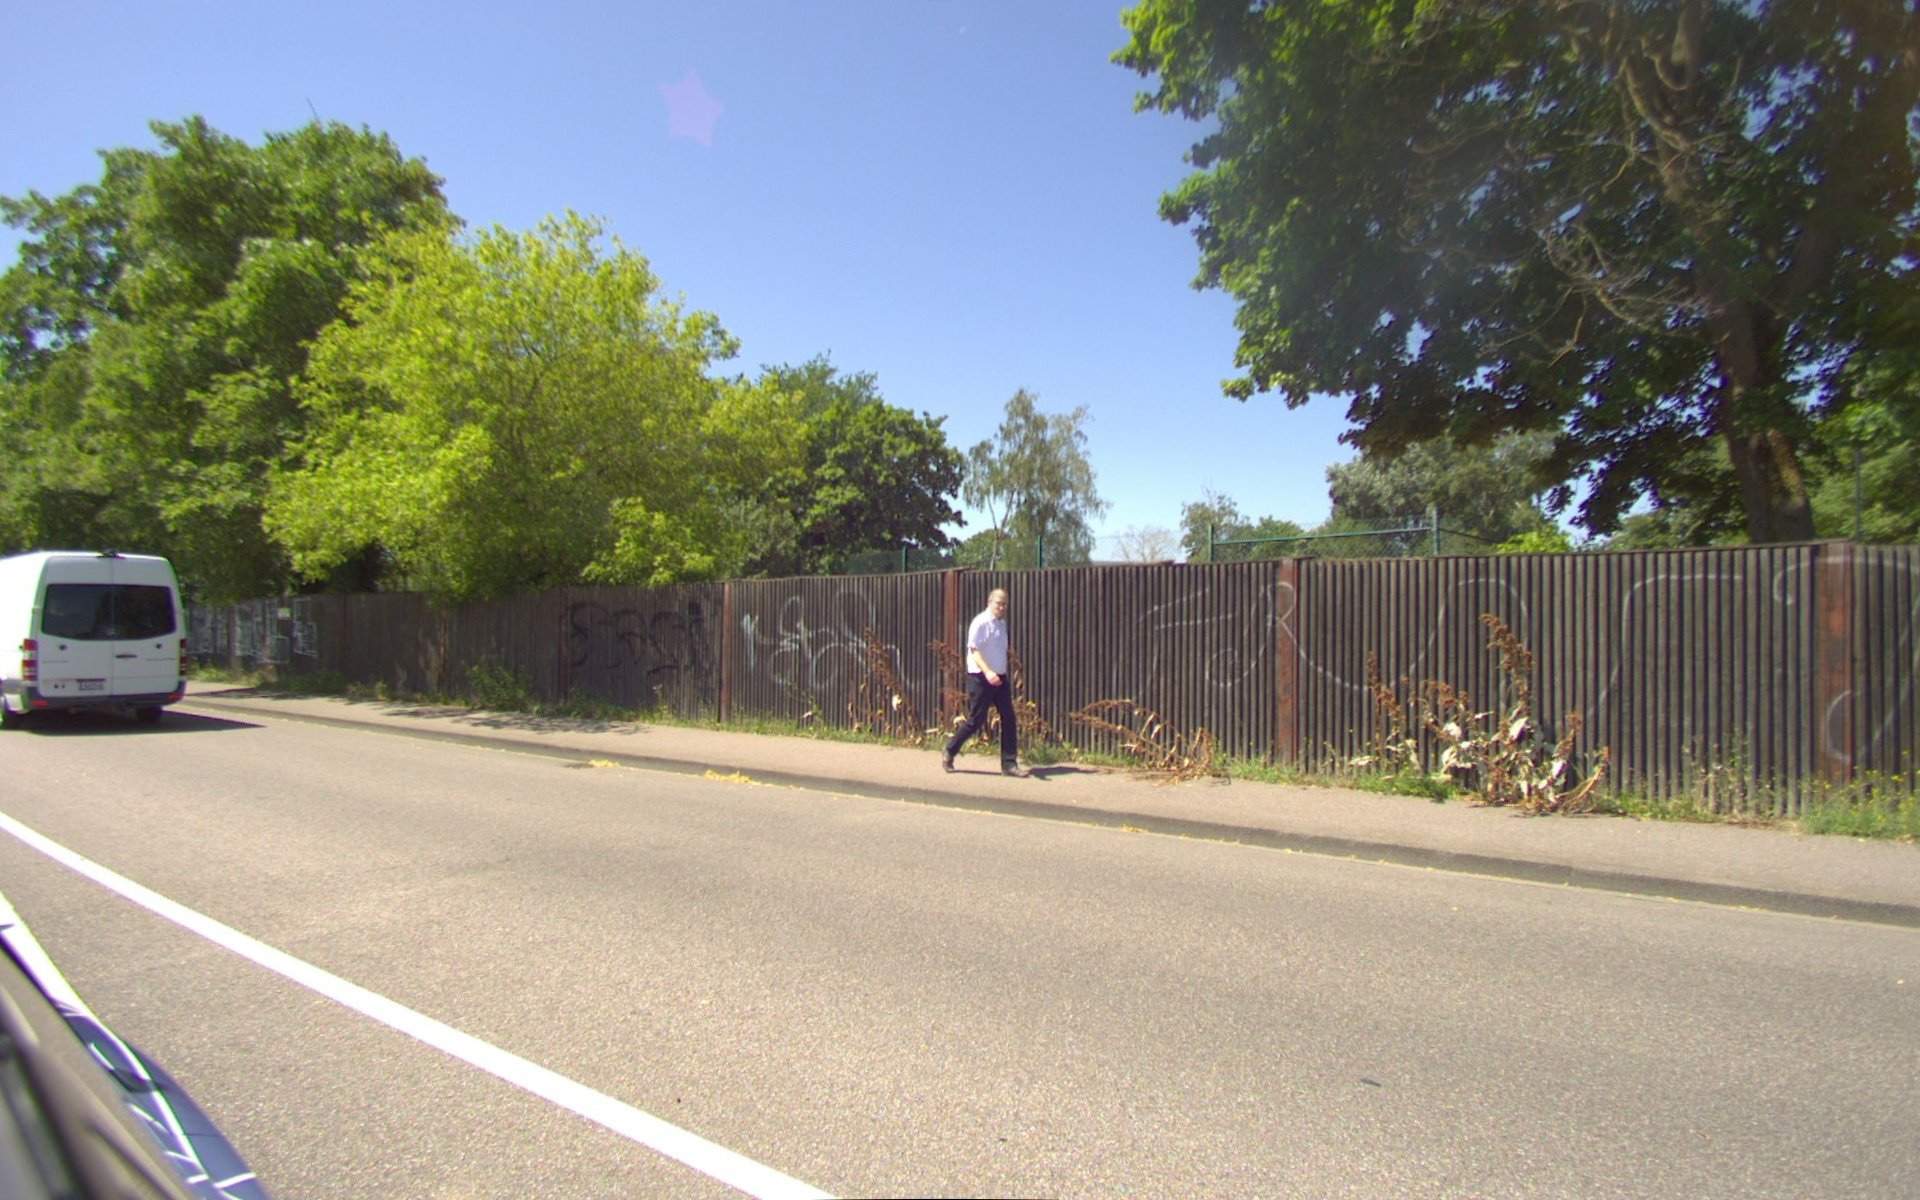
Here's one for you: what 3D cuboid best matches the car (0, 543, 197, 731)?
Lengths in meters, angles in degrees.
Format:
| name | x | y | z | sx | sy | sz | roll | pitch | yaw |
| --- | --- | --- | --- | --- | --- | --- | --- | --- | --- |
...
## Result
| name | x | y | z | sx | sy | sz | roll | pitch | yaw |
| --- | --- | --- | --- | --- | --- | --- | --- | --- | --- |
| car | -15.005 | 0.577 | 16.566 | 6.812 | 2.558 | 2.002 | -1 | -2 | 35 |

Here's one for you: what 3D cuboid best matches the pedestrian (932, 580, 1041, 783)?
| name | x | y | z | sx | sy | sz | roll | pitch | yaw |
| --- | --- | --- | --- | --- | --- | --- | --- | --- | --- |
| pedestrian | 0.246 | 0.743 | 9.657 | 0.850 | 1.838 | 0.586 | -1 | -1 | 41 |
